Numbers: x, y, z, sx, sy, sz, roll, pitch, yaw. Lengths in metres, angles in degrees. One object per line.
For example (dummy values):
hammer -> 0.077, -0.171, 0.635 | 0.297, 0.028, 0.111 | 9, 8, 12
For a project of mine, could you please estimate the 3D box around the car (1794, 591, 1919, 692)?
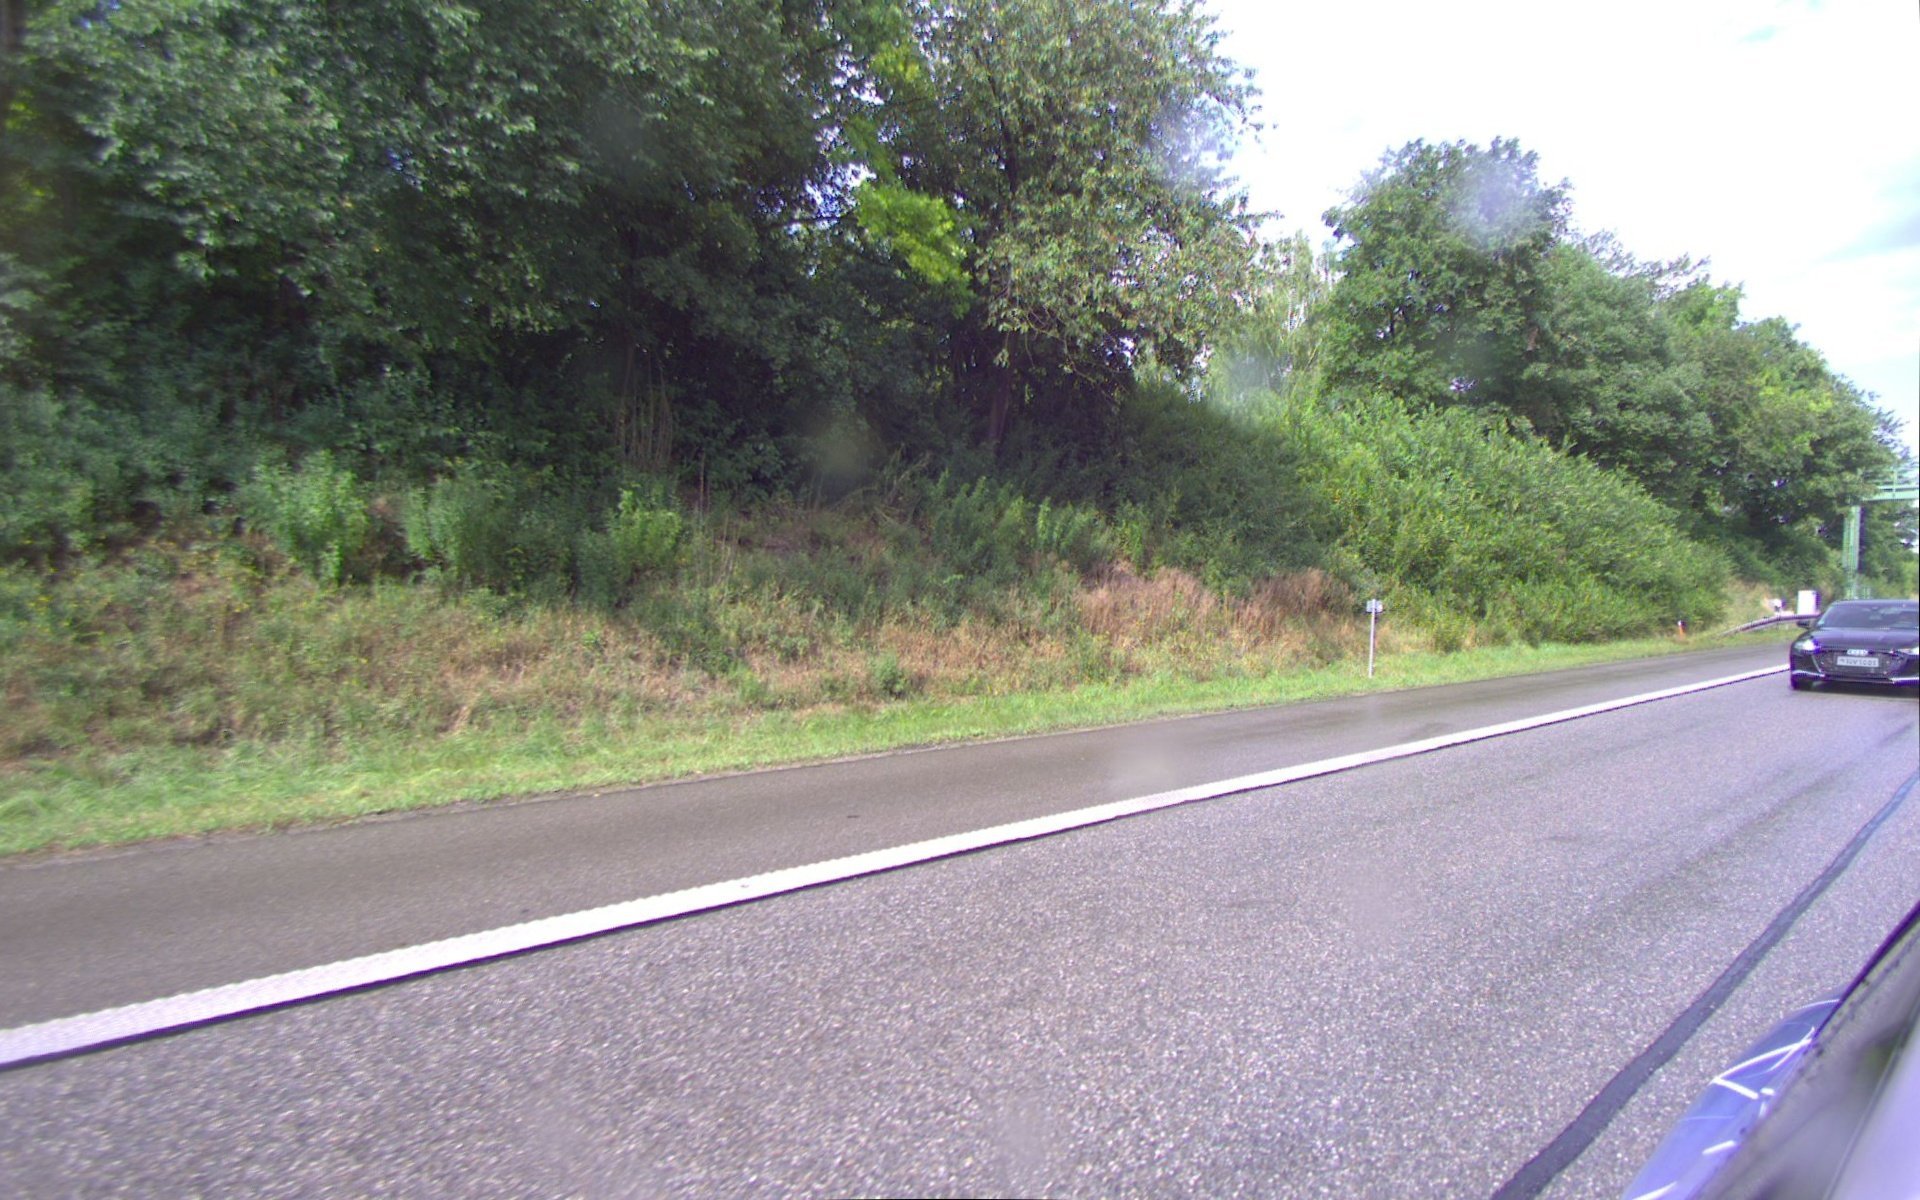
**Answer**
car -> 14.892, 0.572, 16.182 | 4.292, 1.414, 1.758 | -1, 1, -41

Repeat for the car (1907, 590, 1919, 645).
car -> 27.487, 0.461, 27.978 | 3.681, 1.474, 1.653 | -1, 1, -43
